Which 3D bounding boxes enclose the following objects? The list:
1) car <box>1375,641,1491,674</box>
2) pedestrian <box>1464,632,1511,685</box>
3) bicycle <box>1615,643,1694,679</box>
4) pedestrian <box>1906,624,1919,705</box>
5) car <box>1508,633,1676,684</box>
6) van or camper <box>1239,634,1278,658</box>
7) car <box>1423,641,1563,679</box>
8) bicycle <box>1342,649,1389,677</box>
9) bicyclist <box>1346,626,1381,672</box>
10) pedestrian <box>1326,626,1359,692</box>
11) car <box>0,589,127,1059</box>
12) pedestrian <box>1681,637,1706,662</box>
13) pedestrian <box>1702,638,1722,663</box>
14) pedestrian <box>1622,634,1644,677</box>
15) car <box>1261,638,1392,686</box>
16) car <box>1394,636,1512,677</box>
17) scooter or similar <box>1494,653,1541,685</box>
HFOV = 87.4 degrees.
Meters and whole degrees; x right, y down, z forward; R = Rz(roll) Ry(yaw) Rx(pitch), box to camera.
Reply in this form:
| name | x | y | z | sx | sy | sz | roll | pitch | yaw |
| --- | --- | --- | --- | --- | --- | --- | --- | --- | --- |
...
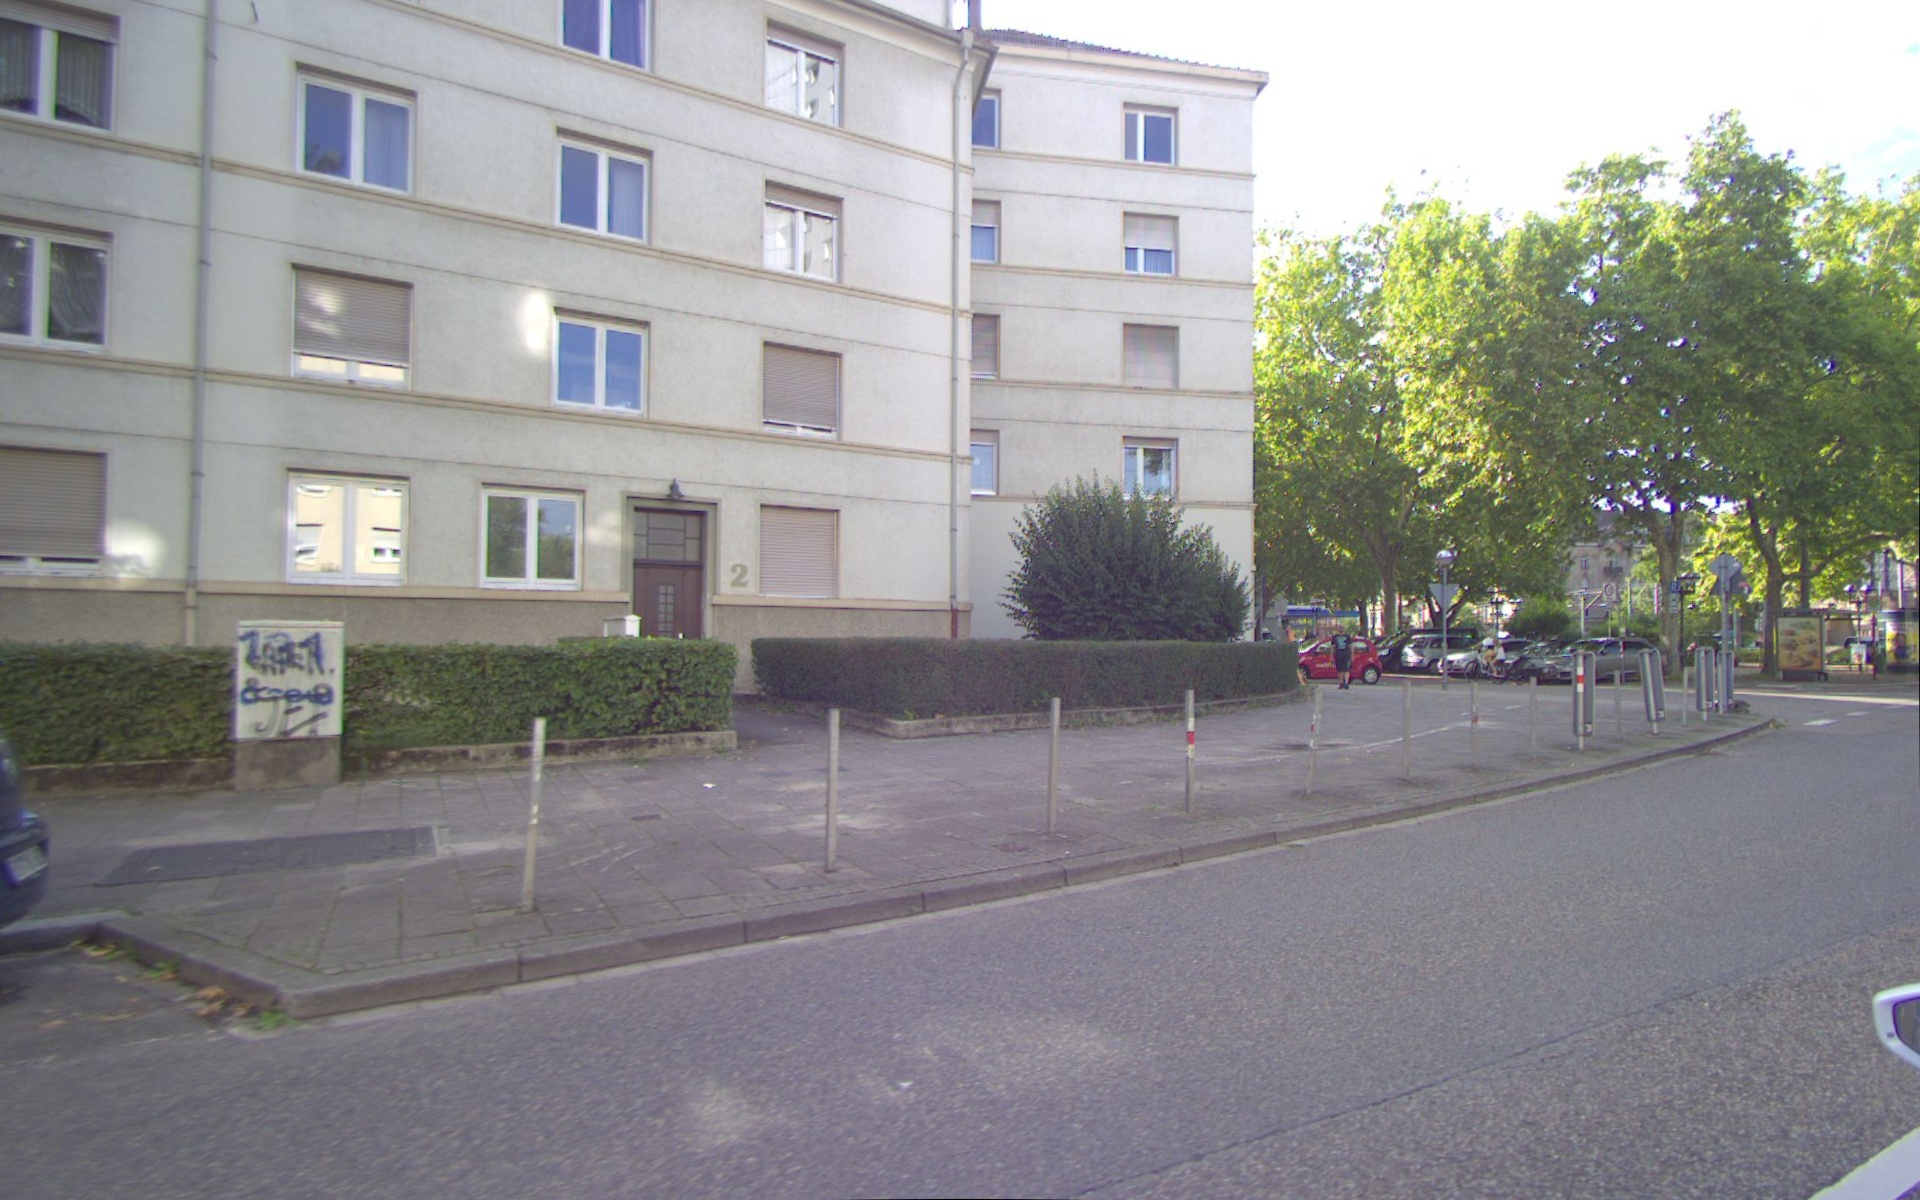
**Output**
| name | x | y | z | sx | sy | sz | roll | pitch | yaw |
| --- | --- | --- | --- | --- | --- | --- | --- | --- | --- |
| car | 20.542 | 2.493 | 43.649 | 4.310 | 1.396 | 1.857 | 1 | -2 | -12 |
| pedestrian | 16.878 | 1.855 | 32.162 | 0.802 | 1.676 | 1.073 | 1 | -2 | -15 |
| bicycle | 26.002 | 2.291 | 37.647 | 2.065 | 1.225 | 1.392 | 3 | -2 | -10 |
| pedestrian | 21.656 | 1.439 | 22.220 | 1.063 | 1.777 | 0.914 | 0 | -1 | 44 |
| car | 21.282 | 1.947 | 33.852 | 4.897 | 1.606 | 2.232 | 1 | -2 | -19 |
| van or camper | 29.072 | 4.463 | 97.881 | 2.072 | 2.359 | 4.489 | 0 | -2 | -6 |
| car | 20.434 | 2.282 | 38.556 | 4.753 | 1.396 | 1.669 | 1 | -2 | -12 |
| bicycle | 15.413 | 2.391 | 38.223 | 0.749 | 1.007 | 1.924 | 1 | -2 | -9 |
| bicyclist | 15.417 | 1.861 | 38.419 | 0.800 | 1.714 | 1.111 | 1 | -2 | -9 |
| pedestrian | 9.467 | 1.454 | 24.856 | 0.720 | 1.599 | 0.732 | -1 | -2 | 22 |
| car | -5.391 | 0.798 | 3.334 | 3.760 | 1.641 | 1.790 | 2 | -5 | -32 |
| pedestrian | 39.356 | 2.657 | 53.867 | 0.709 | 1.305 | 0.818 | 2 | 0 | -1 |
| pedestrian | 39.571 | 2.649 | 52.852 | 0.711 | 1.305 | 0.816 | 2 | 0 | 31 |
| pedestrian | 27.465 | 2.272 | 41.008 | 0.699 | 1.738 | 0.498 | 1 | -2 | -32 |
| car | 11.699 | 1.969 | 32.180 | 3.639 | 1.497 | 1.594 | 1 | -2 | -9 |
| car | 20.315 | 2.301 | 41.433 | 4.201 | 1.638 | 1.680 | 1 | -2 | -12 |
| scooter or similar | 17.142 | 2.115 | 30.907 | 0.794 | 0.935 | 1.012 | 1 | -2 | -13 |
